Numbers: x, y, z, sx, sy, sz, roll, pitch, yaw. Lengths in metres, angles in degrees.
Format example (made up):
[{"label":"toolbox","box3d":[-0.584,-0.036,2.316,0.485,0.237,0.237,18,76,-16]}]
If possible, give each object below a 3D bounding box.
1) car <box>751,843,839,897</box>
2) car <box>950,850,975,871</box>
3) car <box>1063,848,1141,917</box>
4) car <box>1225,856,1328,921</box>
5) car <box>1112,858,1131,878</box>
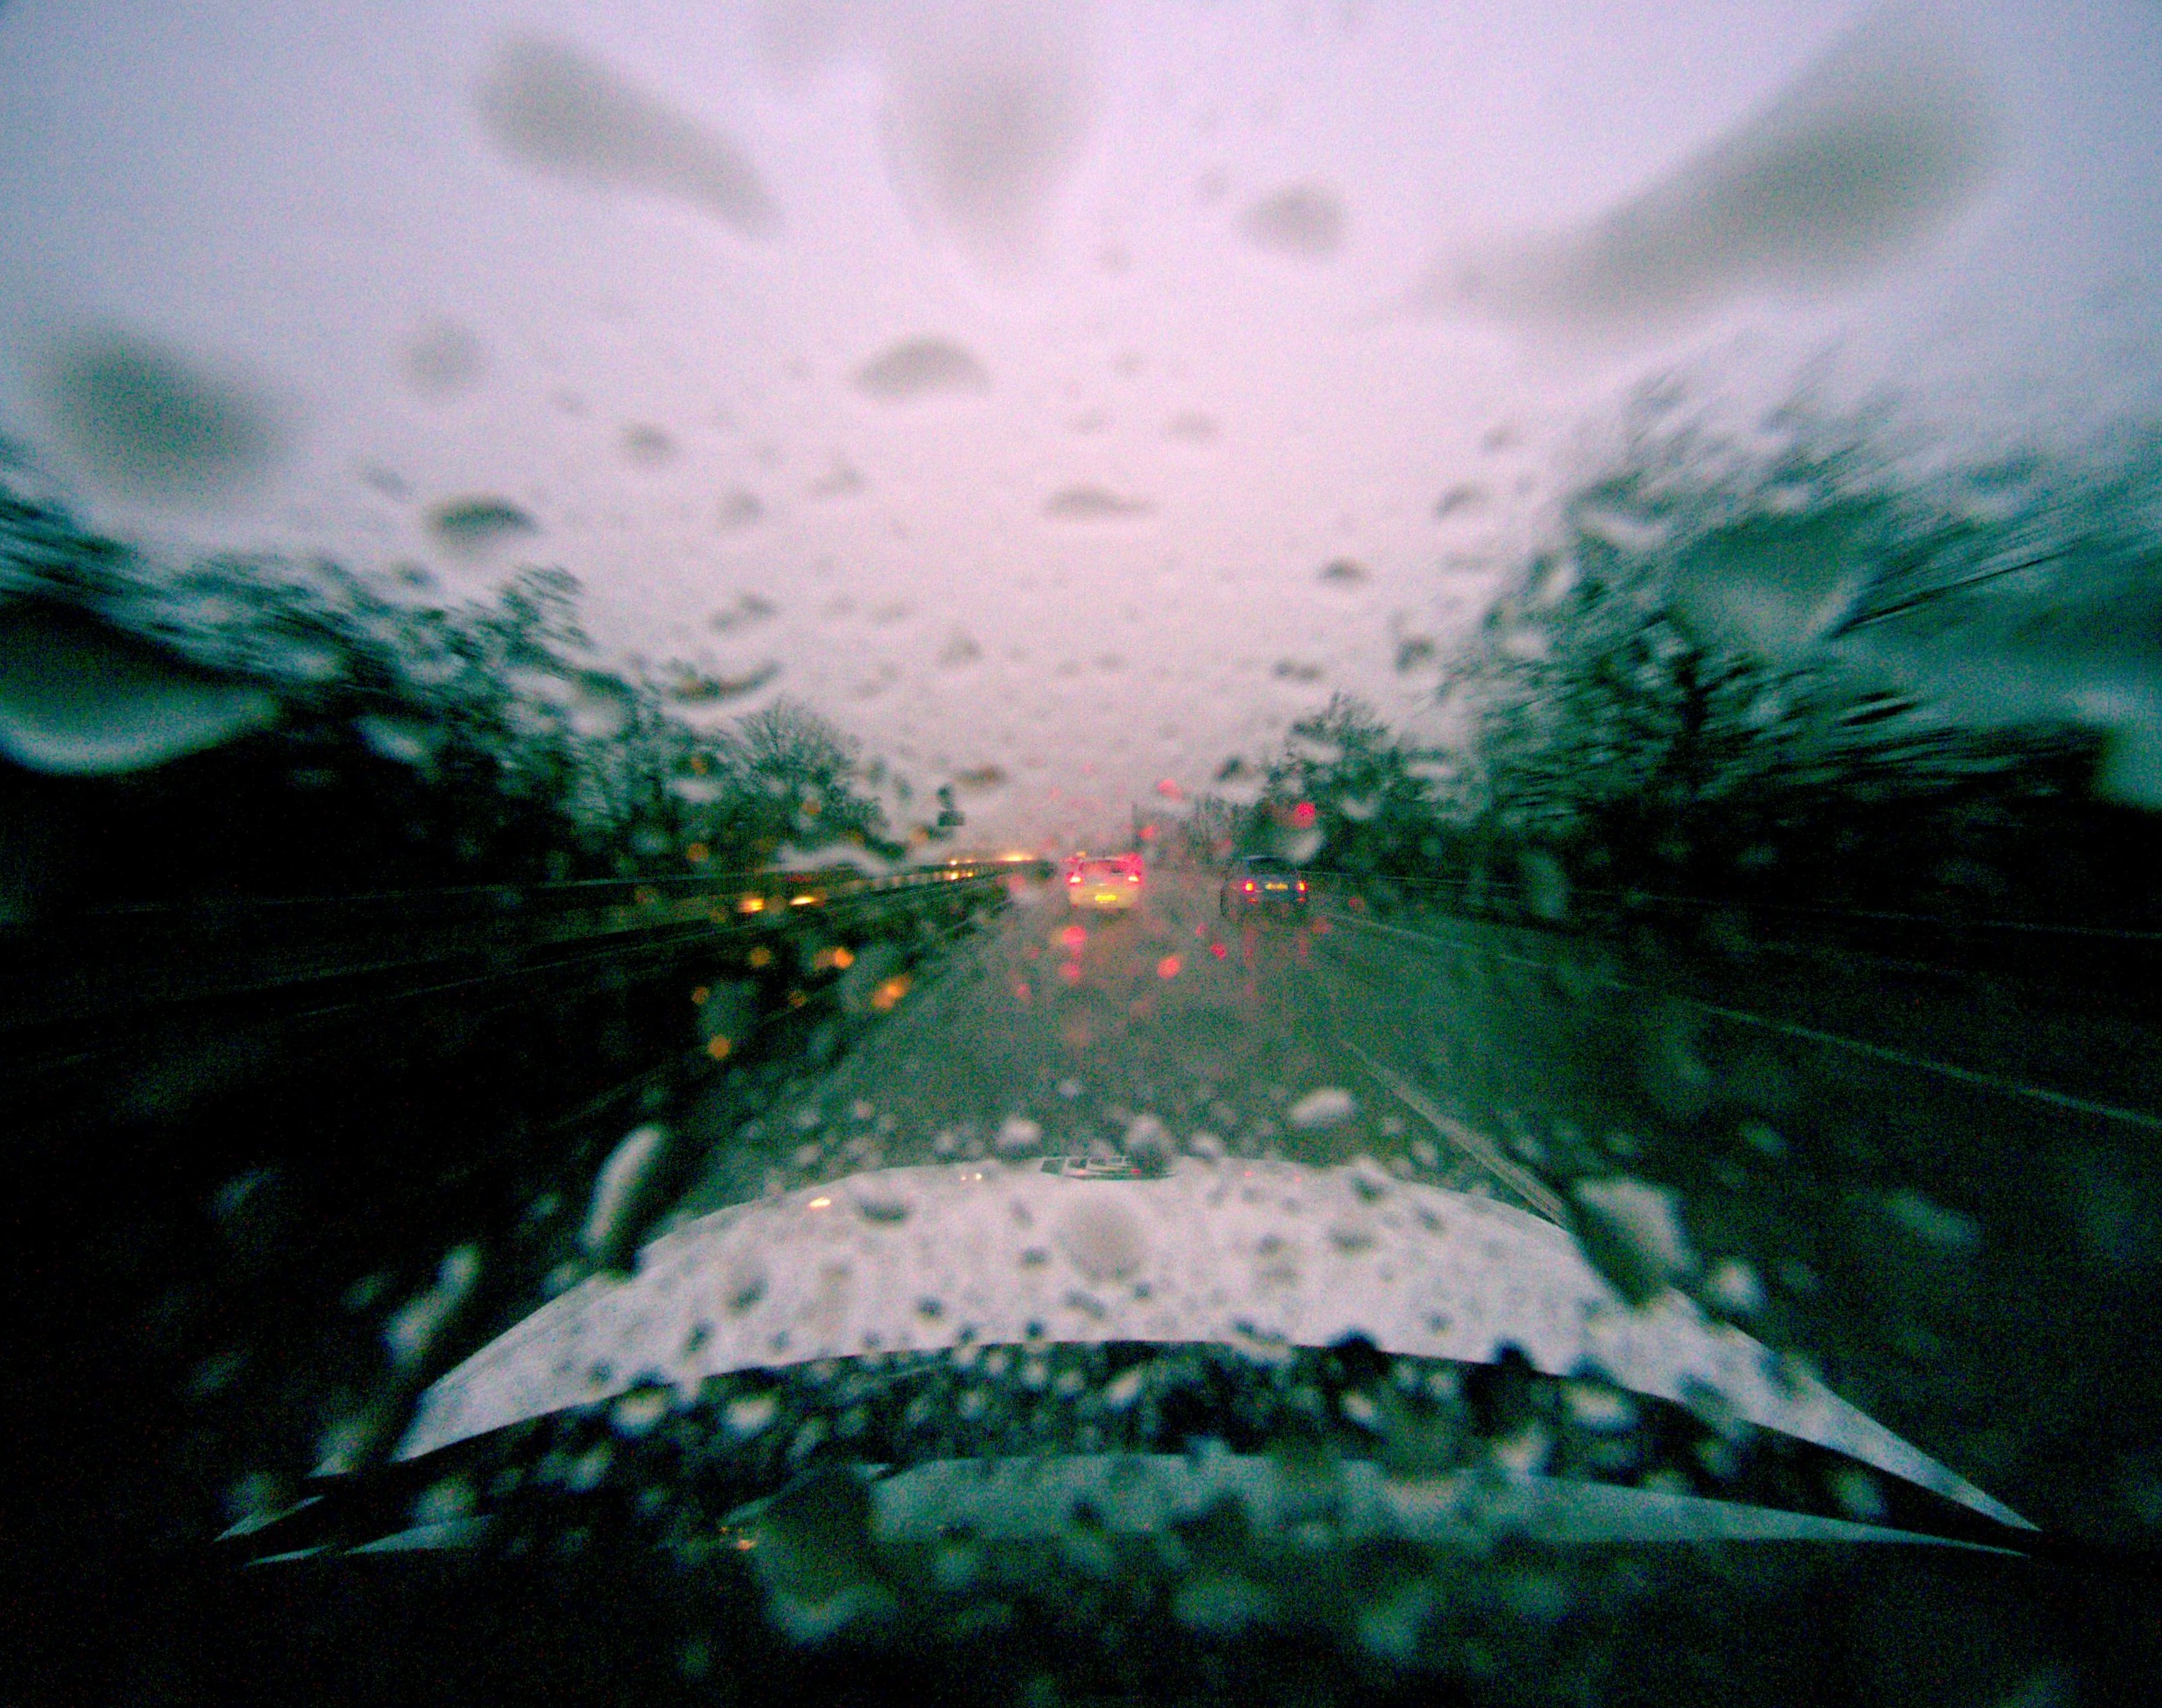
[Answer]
[{"label":"car","box3d":[-11.155,0.637,32.156,1.929,1.973,4.534,0,-1,-1]},{"label":"car","box3d":[-10.879,0.598,74.875,1.740,1.833,4.133,1,-1,-1]},{"label":"car","box3d":[0.607,0.670,21.113,1.838,1.636,3.771,0,0,3]},{"label":"car","box3d":[4.863,0.798,20.778,1.838,1.453,4.152,0,0,3]},{"label":"car","box3d":[4.217,1.471,85.263,1.866,1.904,4.001,5,-1,2]}]
